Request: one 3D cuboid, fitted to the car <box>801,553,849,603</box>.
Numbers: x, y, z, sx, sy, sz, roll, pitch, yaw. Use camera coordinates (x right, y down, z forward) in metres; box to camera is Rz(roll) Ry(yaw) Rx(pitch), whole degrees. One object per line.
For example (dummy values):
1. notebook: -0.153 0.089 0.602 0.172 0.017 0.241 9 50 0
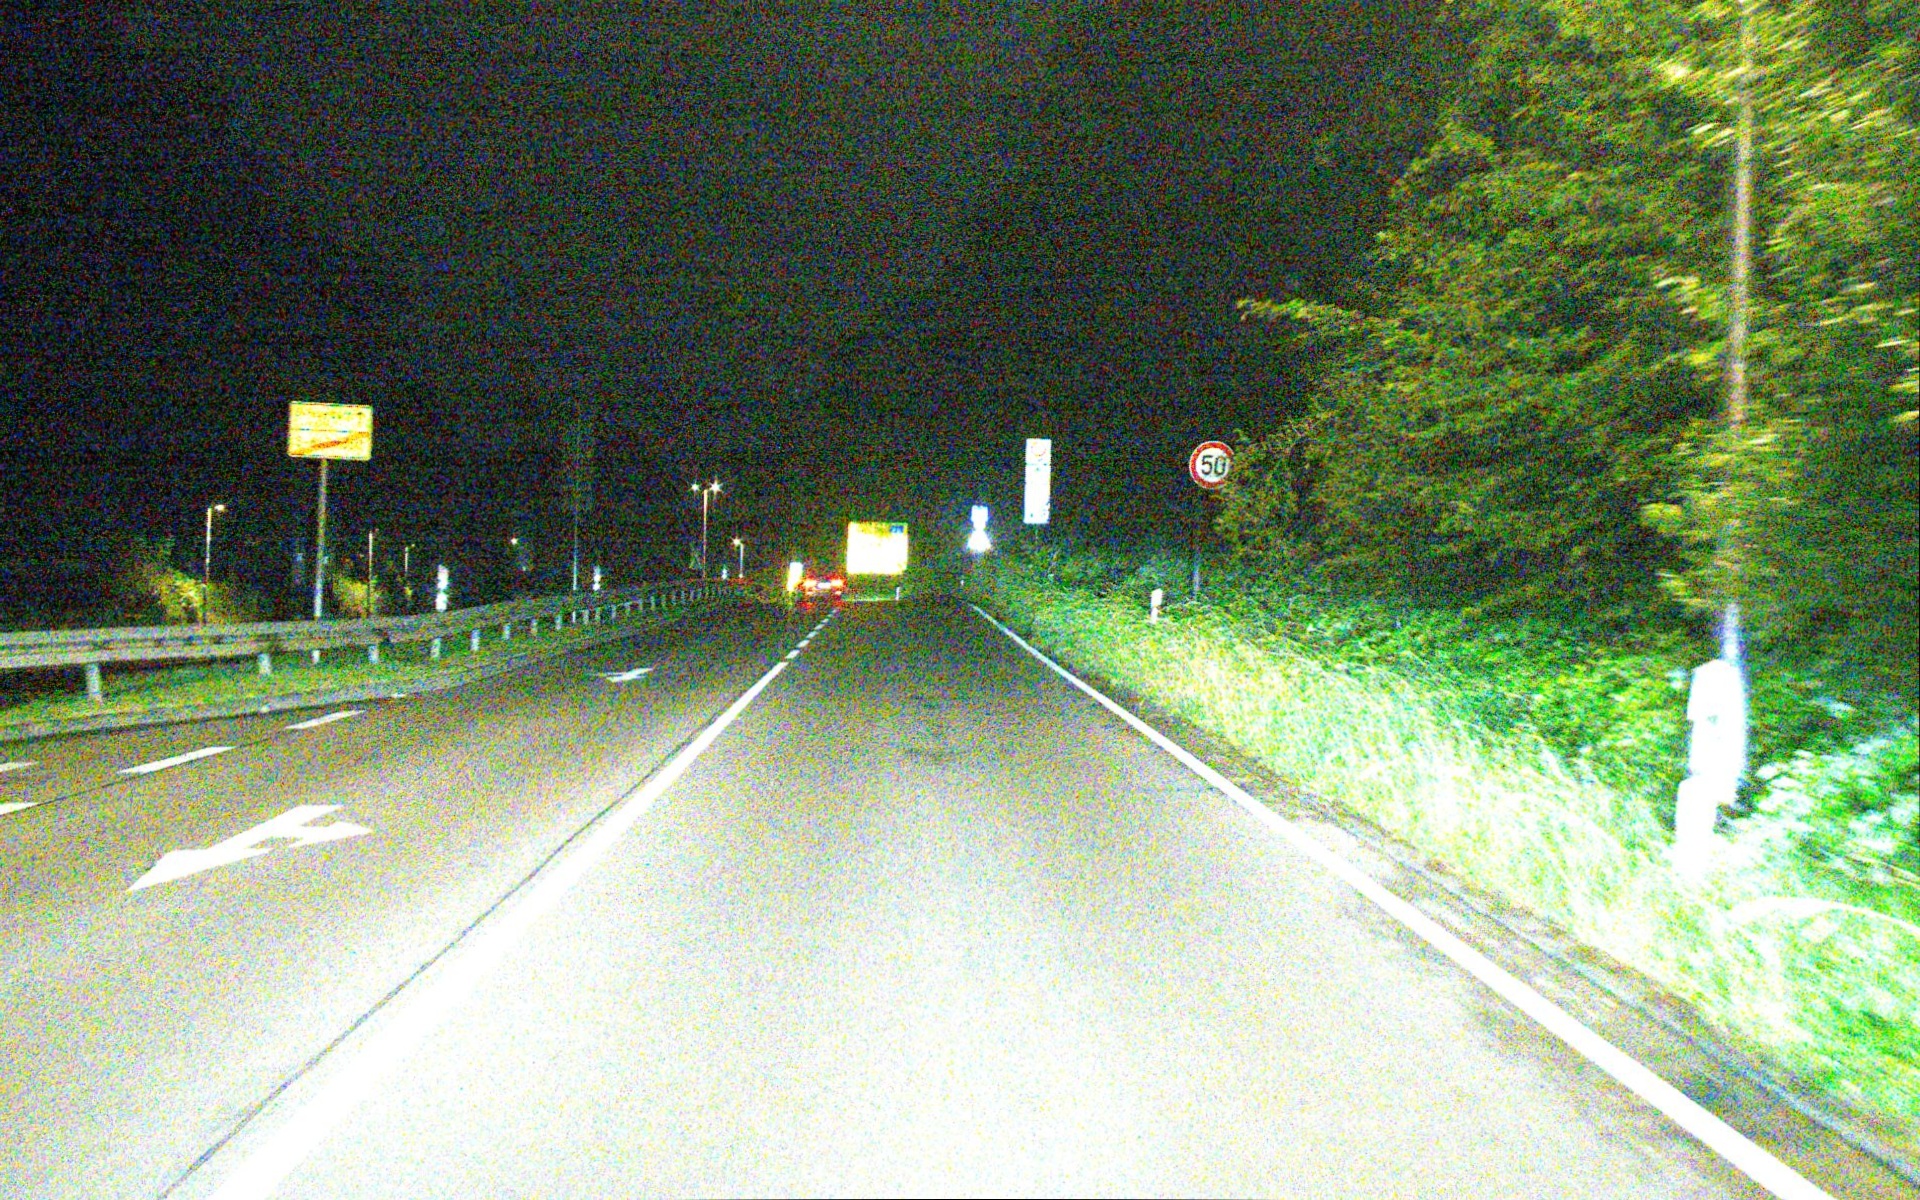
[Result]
1. car: -6.198 -1.001 157.505 1.993 2.007 4.000 3 -2 -3
